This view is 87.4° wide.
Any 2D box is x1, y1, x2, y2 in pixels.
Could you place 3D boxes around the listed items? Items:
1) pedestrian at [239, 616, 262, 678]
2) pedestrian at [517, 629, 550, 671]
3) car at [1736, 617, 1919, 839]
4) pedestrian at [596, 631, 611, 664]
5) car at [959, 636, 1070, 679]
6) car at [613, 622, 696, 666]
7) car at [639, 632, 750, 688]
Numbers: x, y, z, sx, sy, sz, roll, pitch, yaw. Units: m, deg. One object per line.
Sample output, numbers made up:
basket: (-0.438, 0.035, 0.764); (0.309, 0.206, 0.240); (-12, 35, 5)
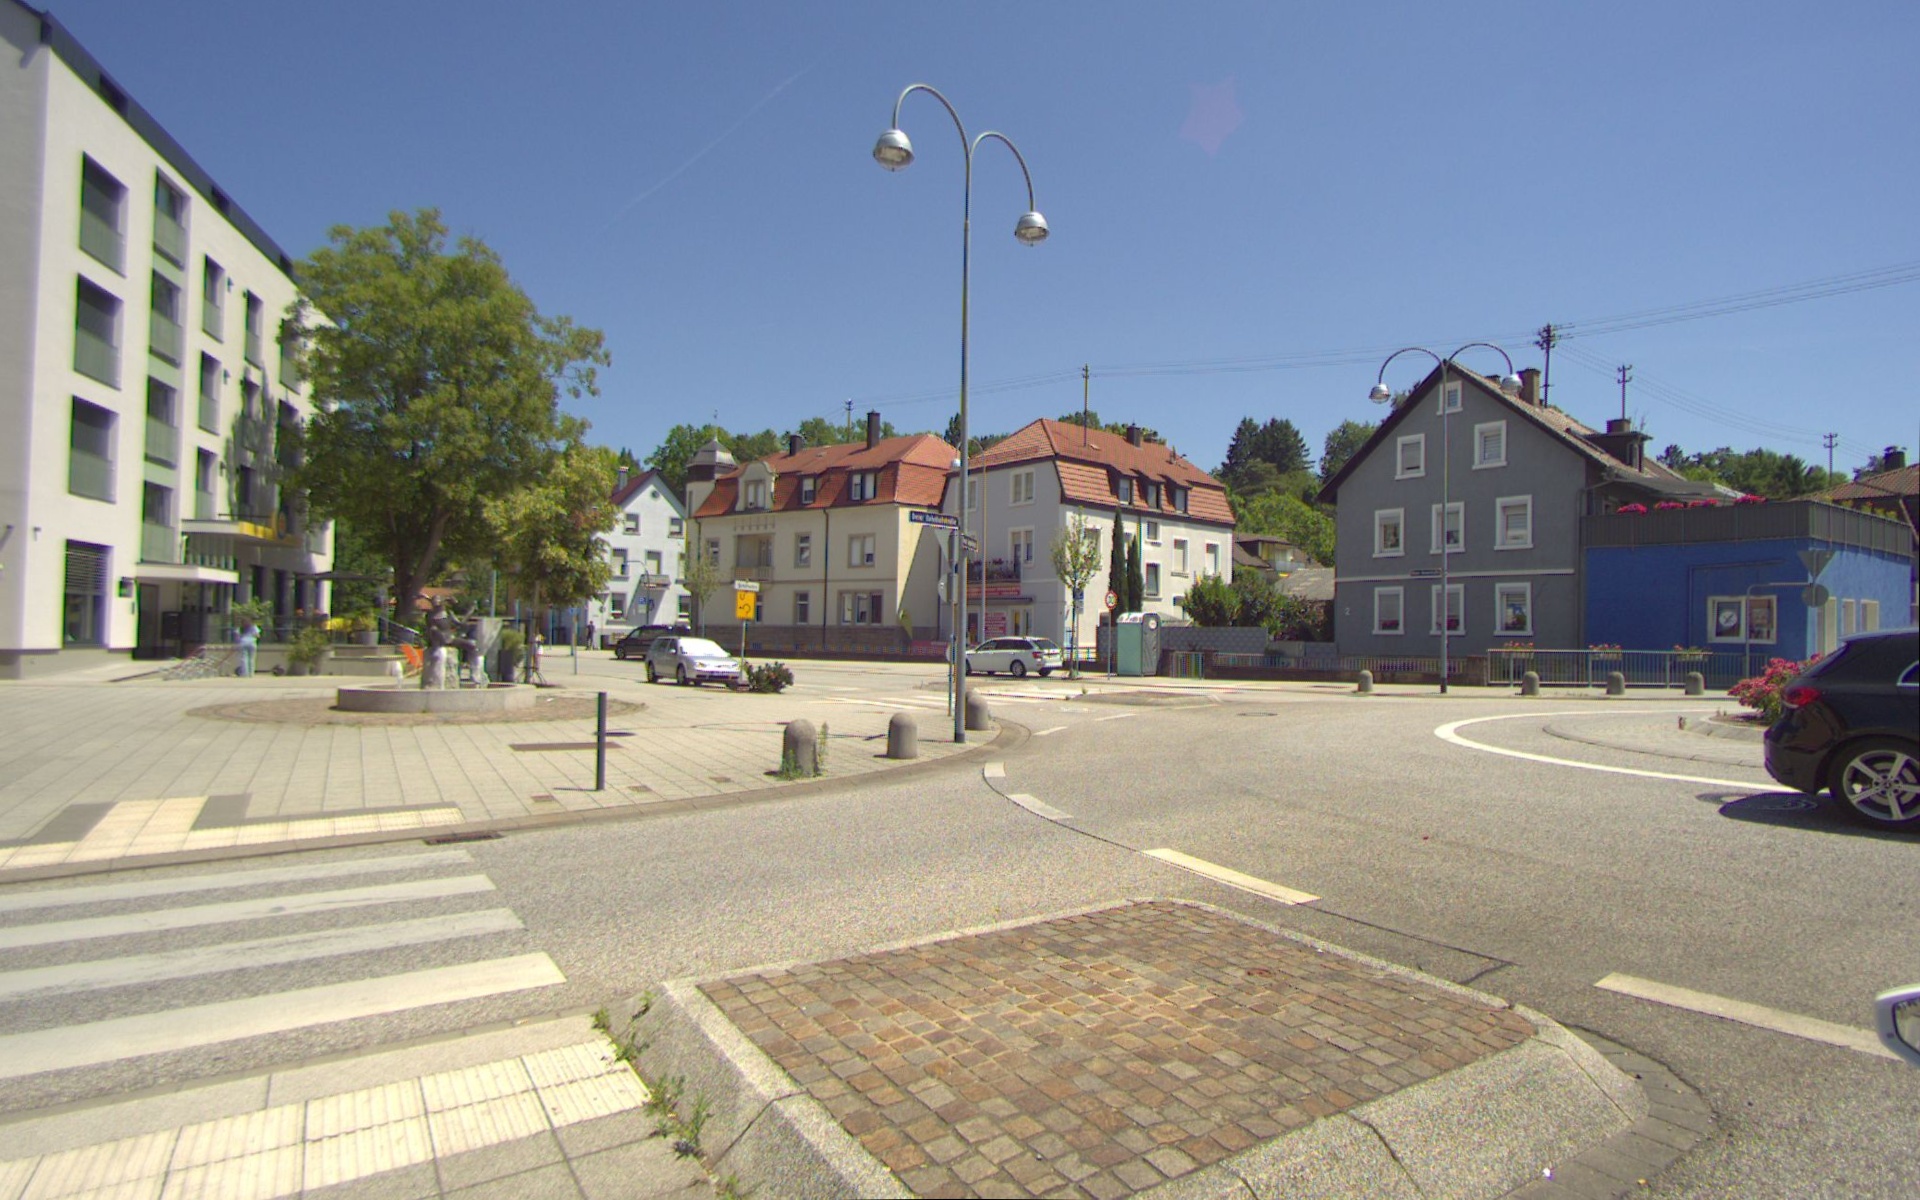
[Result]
pedestrian: (-18.938, 1.241, 26.816); (0.445, 1.640, 0.446); (1, -2, -34)
pedestrian: (-17.093, 1.998, 40.228); (0.932, 1.670, 0.819); (0, -2, 1)
car: (7.860, 0.842, 6.367); (1.754, 1.476, 4.388); (0, -1, -40)
pedestrian: (-21.713, 2.890, 61.229); (0.706, 2.040, 0.875); (1, -2, -9)
car: (2.008, 2.110, 37.482); (4.020, 1.410, 1.600); (-1, 0, 42)
car: (-15.890, 2.267, 52.195); (3.931, 2.040, 1.995); (2, 0, 32)
car: (-8.000, 1.746, 30.061); (1.782, 1.544, 3.955); (2, -2, -39)
